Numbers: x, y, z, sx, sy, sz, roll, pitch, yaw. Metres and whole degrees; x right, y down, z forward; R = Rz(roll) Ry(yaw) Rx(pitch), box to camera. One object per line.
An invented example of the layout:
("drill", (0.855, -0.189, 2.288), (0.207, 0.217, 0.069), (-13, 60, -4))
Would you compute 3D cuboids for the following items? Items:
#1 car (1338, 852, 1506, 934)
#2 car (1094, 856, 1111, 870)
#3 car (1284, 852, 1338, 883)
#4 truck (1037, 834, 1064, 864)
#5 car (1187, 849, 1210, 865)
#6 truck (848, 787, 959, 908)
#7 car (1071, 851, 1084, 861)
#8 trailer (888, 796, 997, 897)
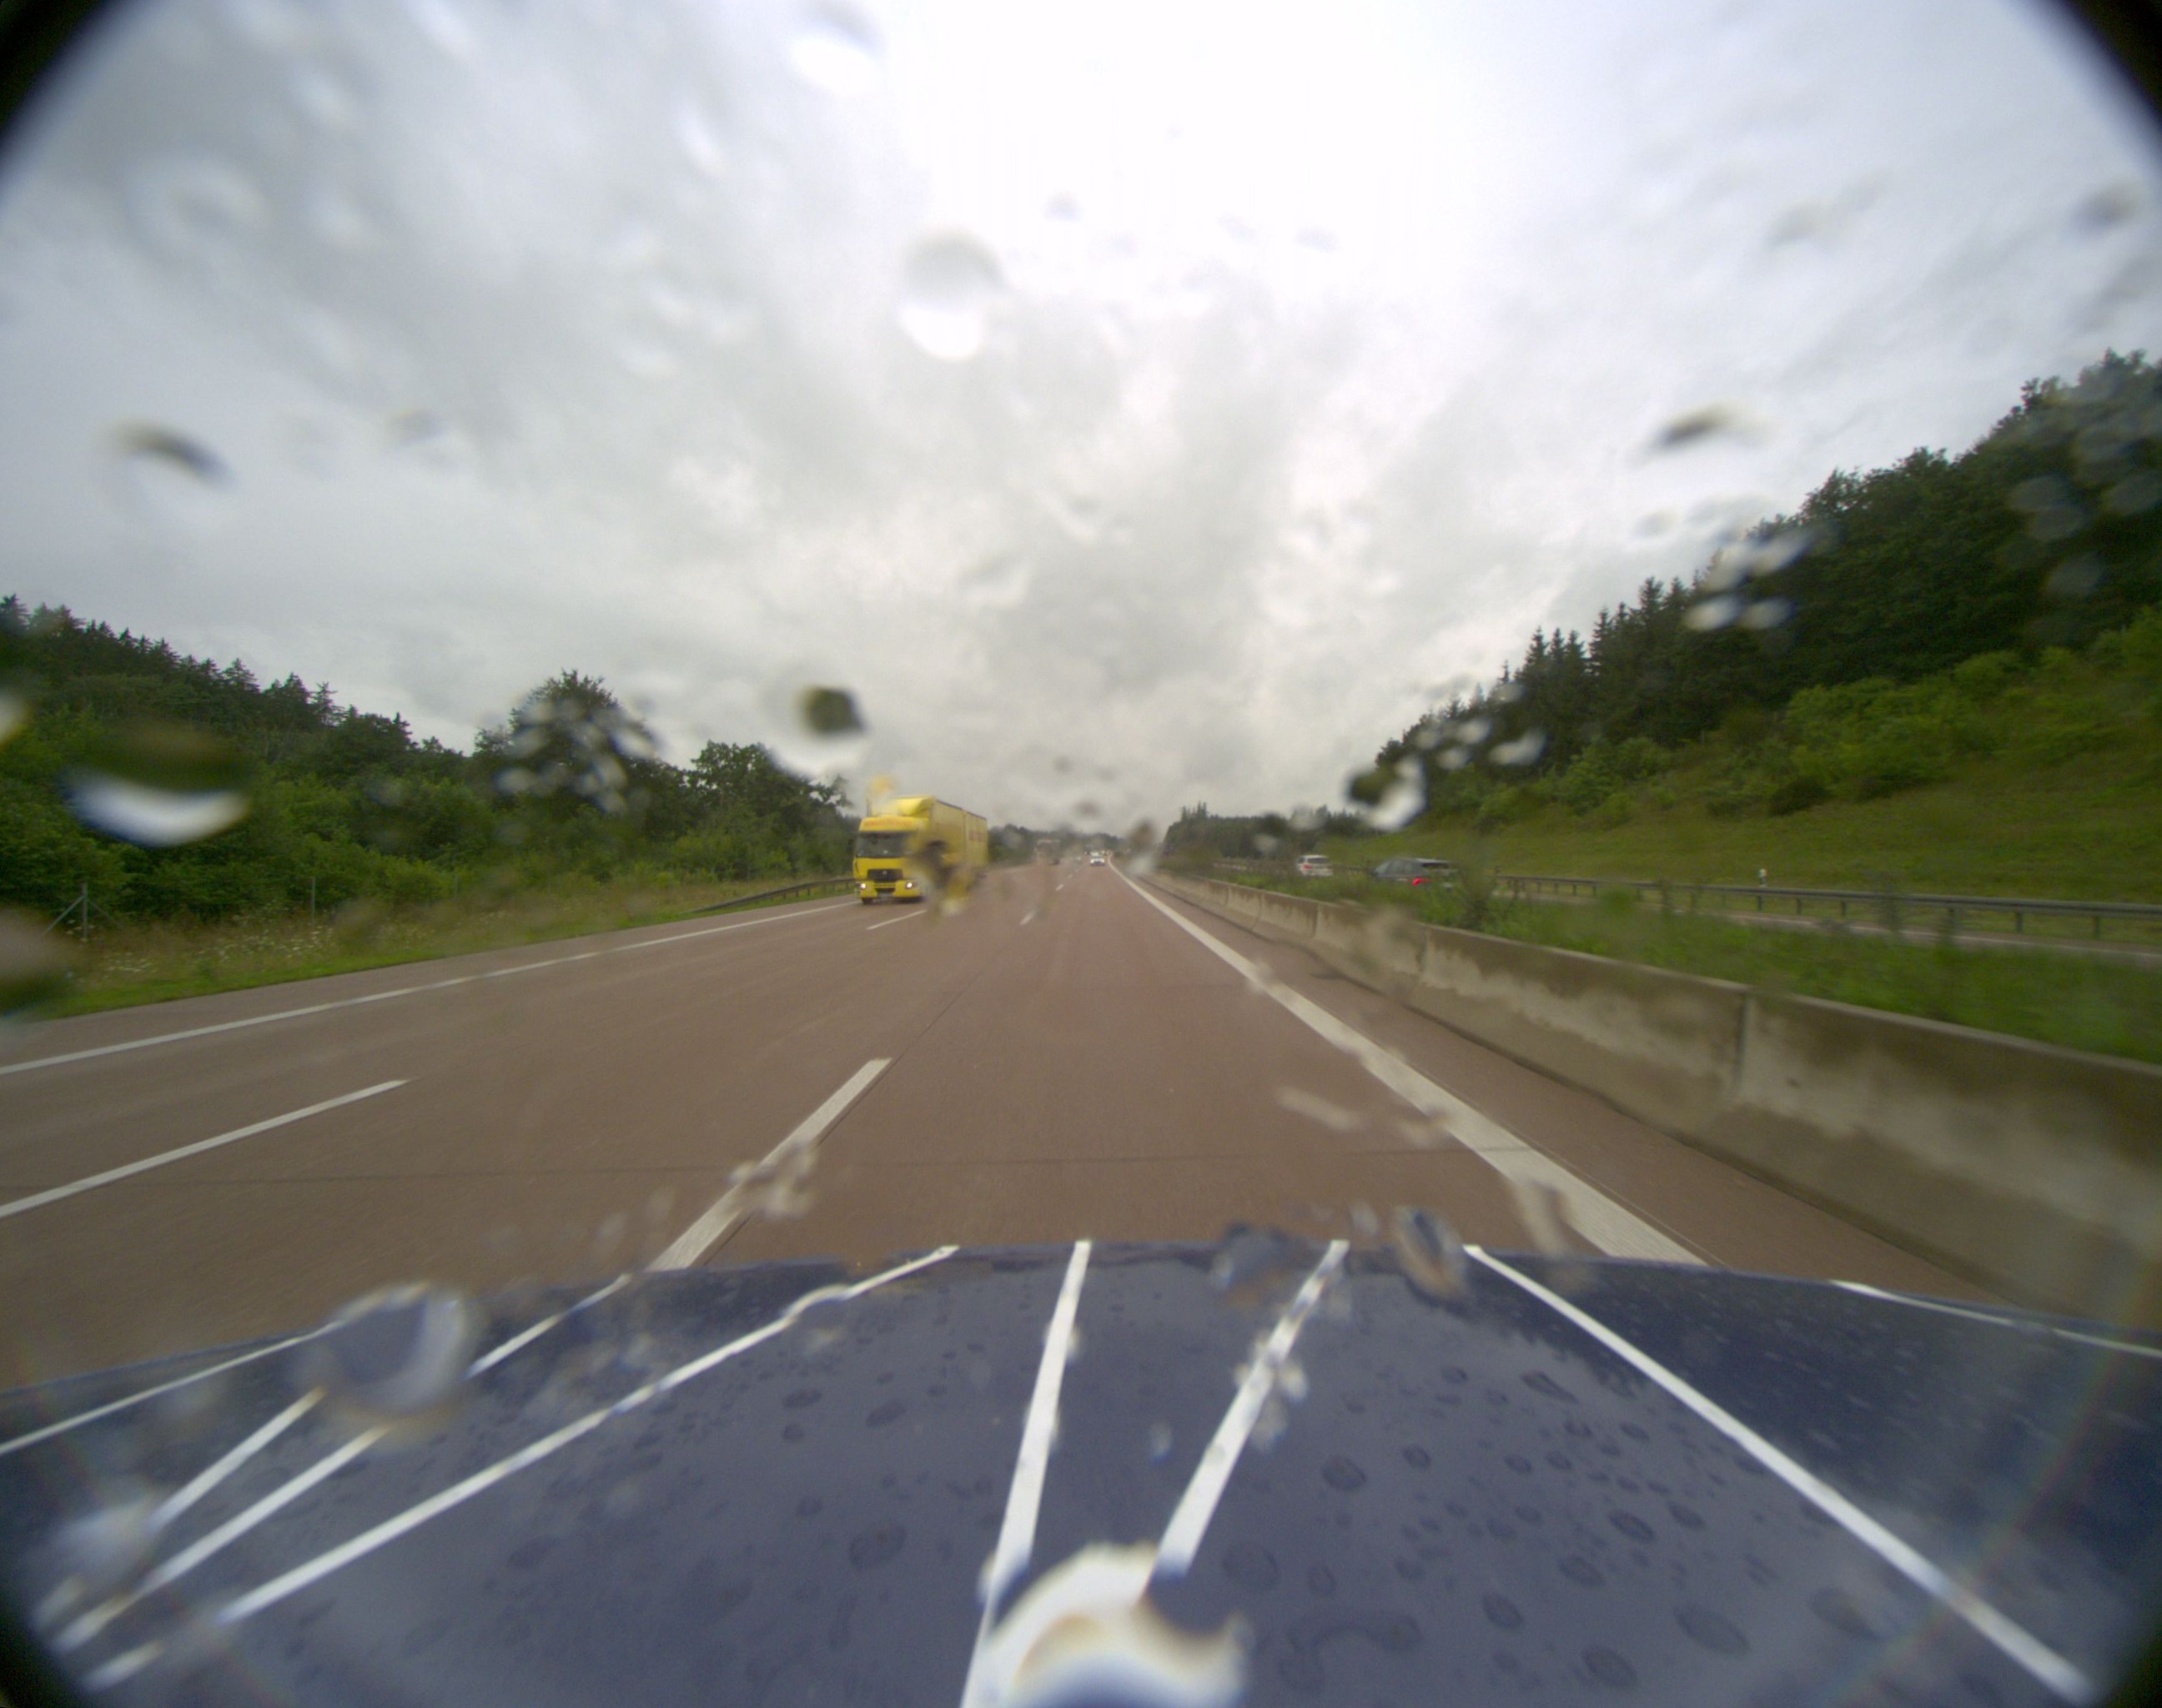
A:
("car", (8.725, 0.888, 20.086), (2.053, 1.766, 5.324), (-2, 1, 1))
("car", (2.776, 1.140, 98.010), (1.998, 1.623, 4.931), (-2, 1, 1))
("car", (13.889, 0.760, 46.126), (1.818, 1.713, 4.951), (0, 1, 1))
("truck", (-4.696, -0.863, 119.707), (3.190, 4.349, 14.703), (-2, 1, 1))
("car", (13.683, 0.333, 88.855), (1.998, 1.710, 4.259), (-2, 1, 1))
("truck", (-6.803, -0.275, 30.113), (2.610, 4.190, 6.249), (-2, 1, 1))
("car", (-0.533, 0.338, 126.450), (1.998, 1.623, 4.931), (-2, 1, 1))
("trailer", (-6.611, -0.404, 39.131), (2.572, 4.204, 14.079), (-2, 1, 1))
